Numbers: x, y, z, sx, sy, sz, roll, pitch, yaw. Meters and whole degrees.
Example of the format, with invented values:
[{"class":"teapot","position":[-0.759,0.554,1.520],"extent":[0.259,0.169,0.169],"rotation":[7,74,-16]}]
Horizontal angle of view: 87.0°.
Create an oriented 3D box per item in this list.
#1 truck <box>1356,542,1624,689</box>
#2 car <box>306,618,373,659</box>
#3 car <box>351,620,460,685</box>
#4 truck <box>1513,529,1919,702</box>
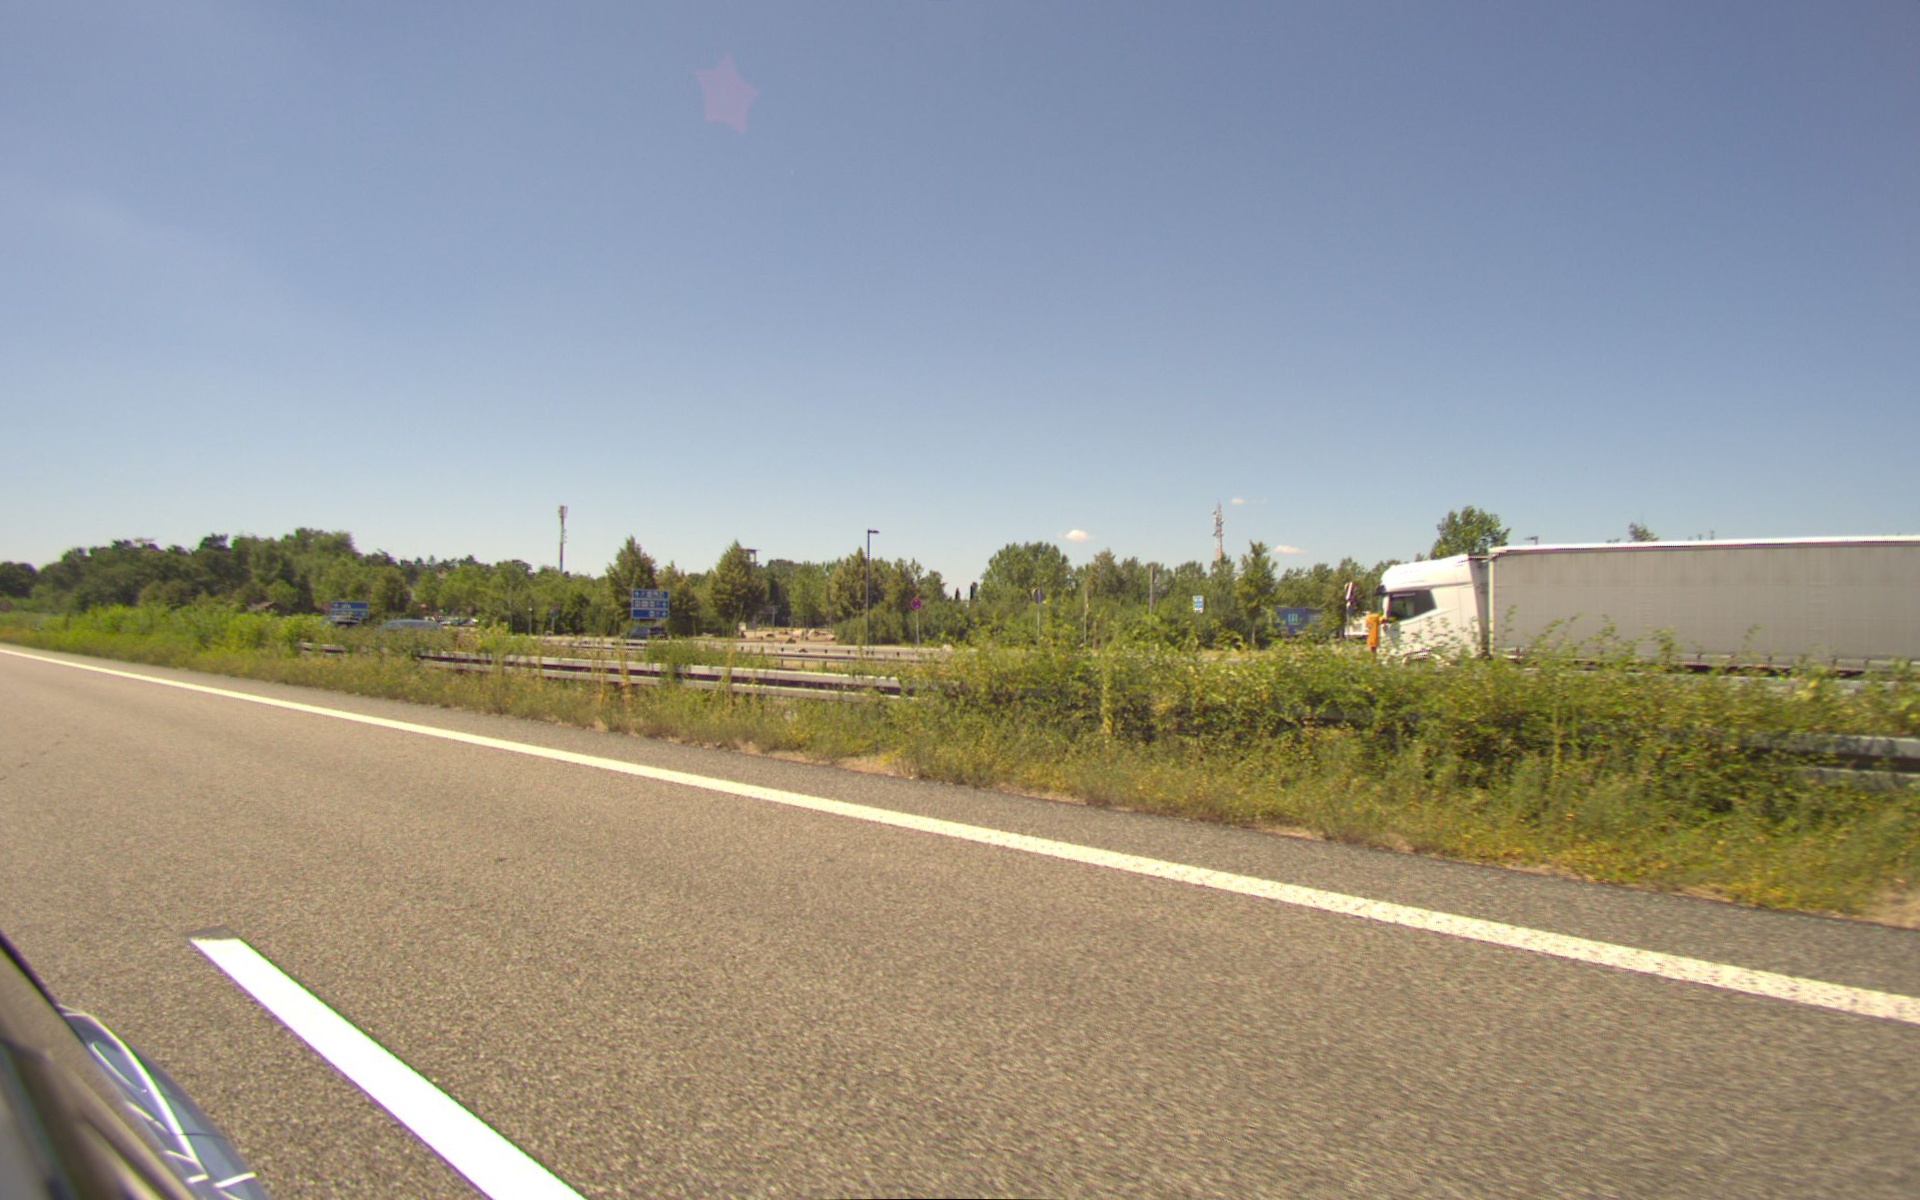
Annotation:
[{"class":"truck","position":[14.715,0.412,28.346],"extent":[6.144,3.671,2.770],"rotation":[-1,0,41]},{"class":"car","position":[-29.332,1.798,47.834],"extent":[3.799,1.818,1.635],"rotation":[-1,0,41]},{"class":"car","position":[-17.227,1.570,31.369],"extent":[3.902,1.818,1.735],"rotation":[-1,0,41]},{"class":"truck","position":[20.568,0.318,23.181],"extent":[13.600,3.671,2.770],"rotation":[-1,0,41]}]
